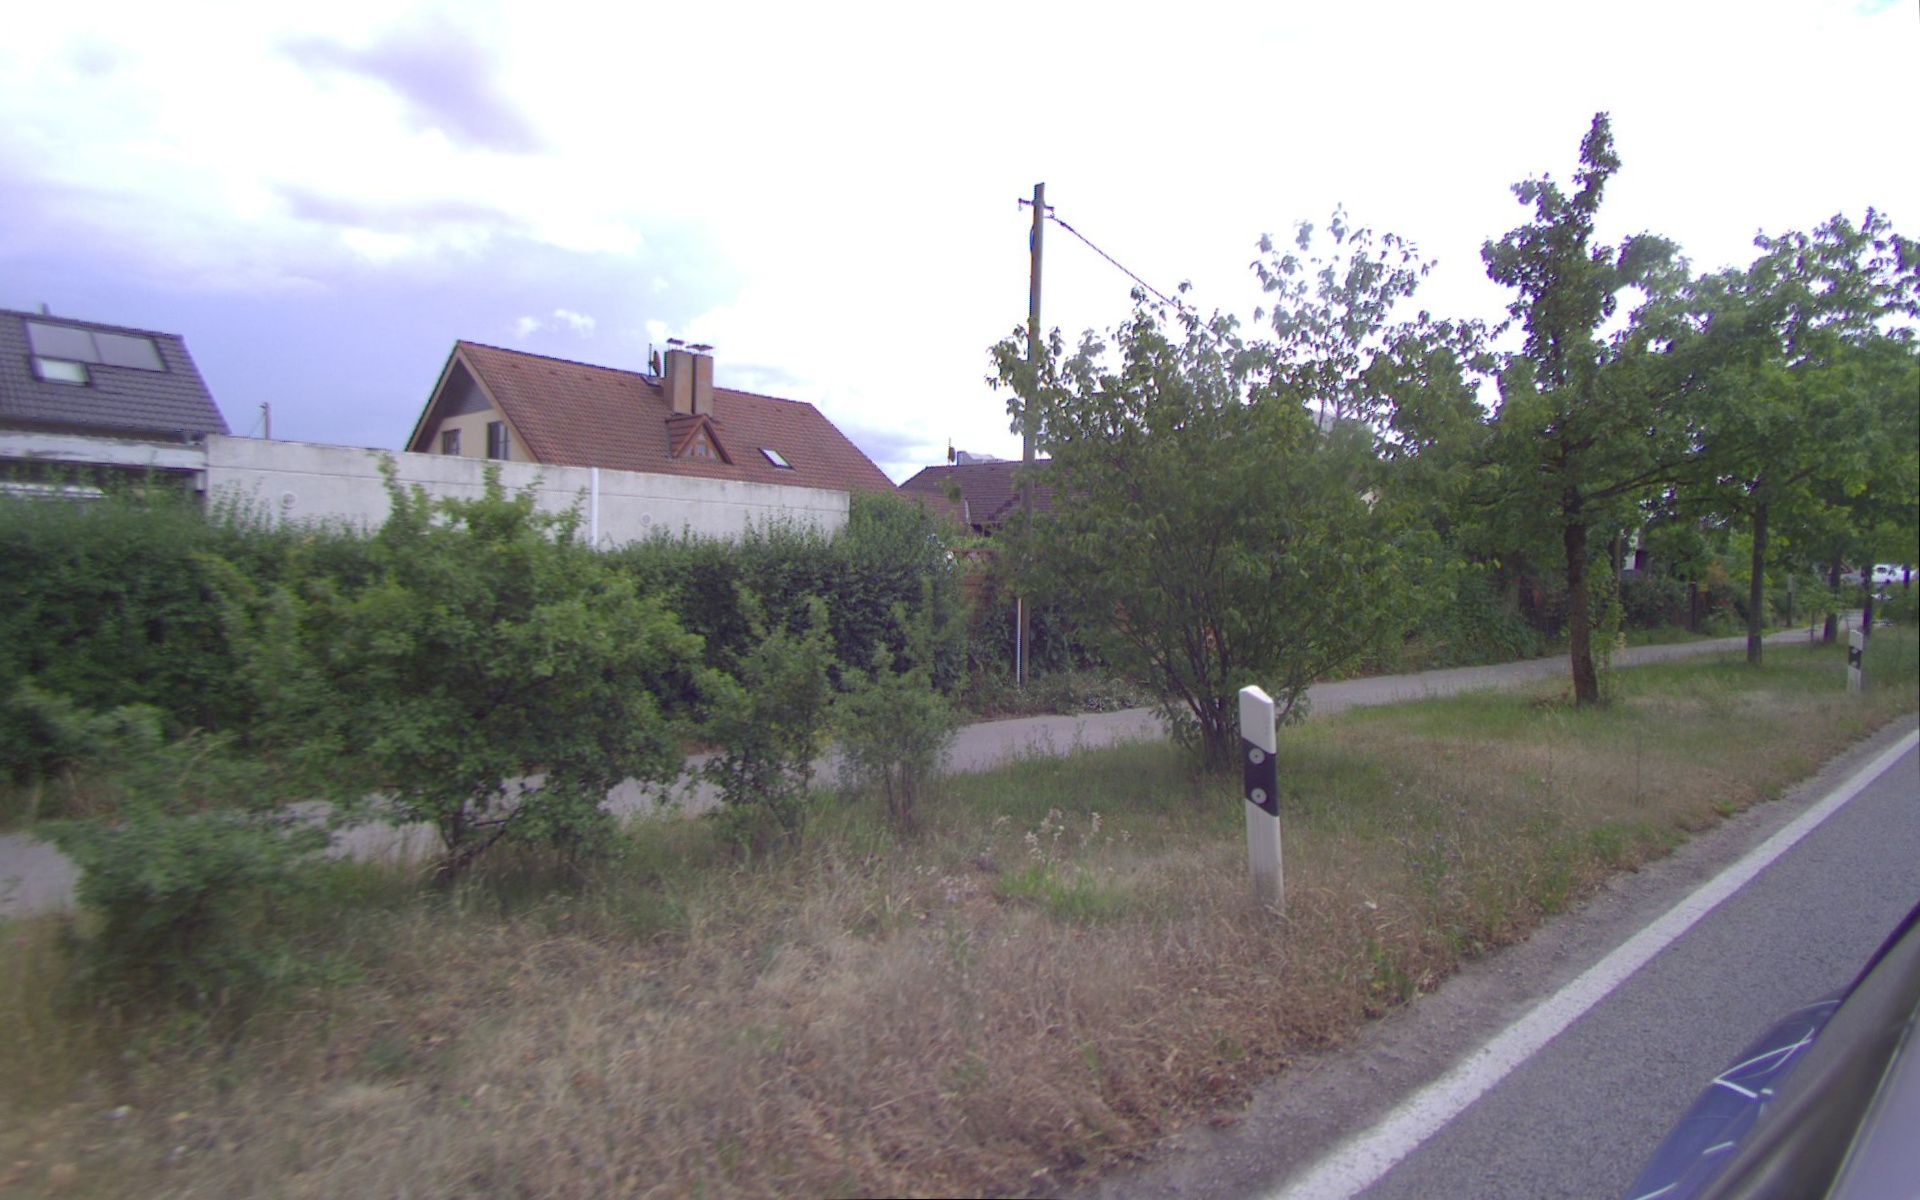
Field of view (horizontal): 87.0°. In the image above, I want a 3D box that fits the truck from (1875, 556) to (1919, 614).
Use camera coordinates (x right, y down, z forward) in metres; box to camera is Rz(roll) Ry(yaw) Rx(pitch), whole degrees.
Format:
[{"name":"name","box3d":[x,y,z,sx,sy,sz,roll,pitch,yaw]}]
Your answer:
[{"name":"truck","box3d":[59.866,-0.918,63.617,7.375,3.491,2.612,0,1,-41]}]
